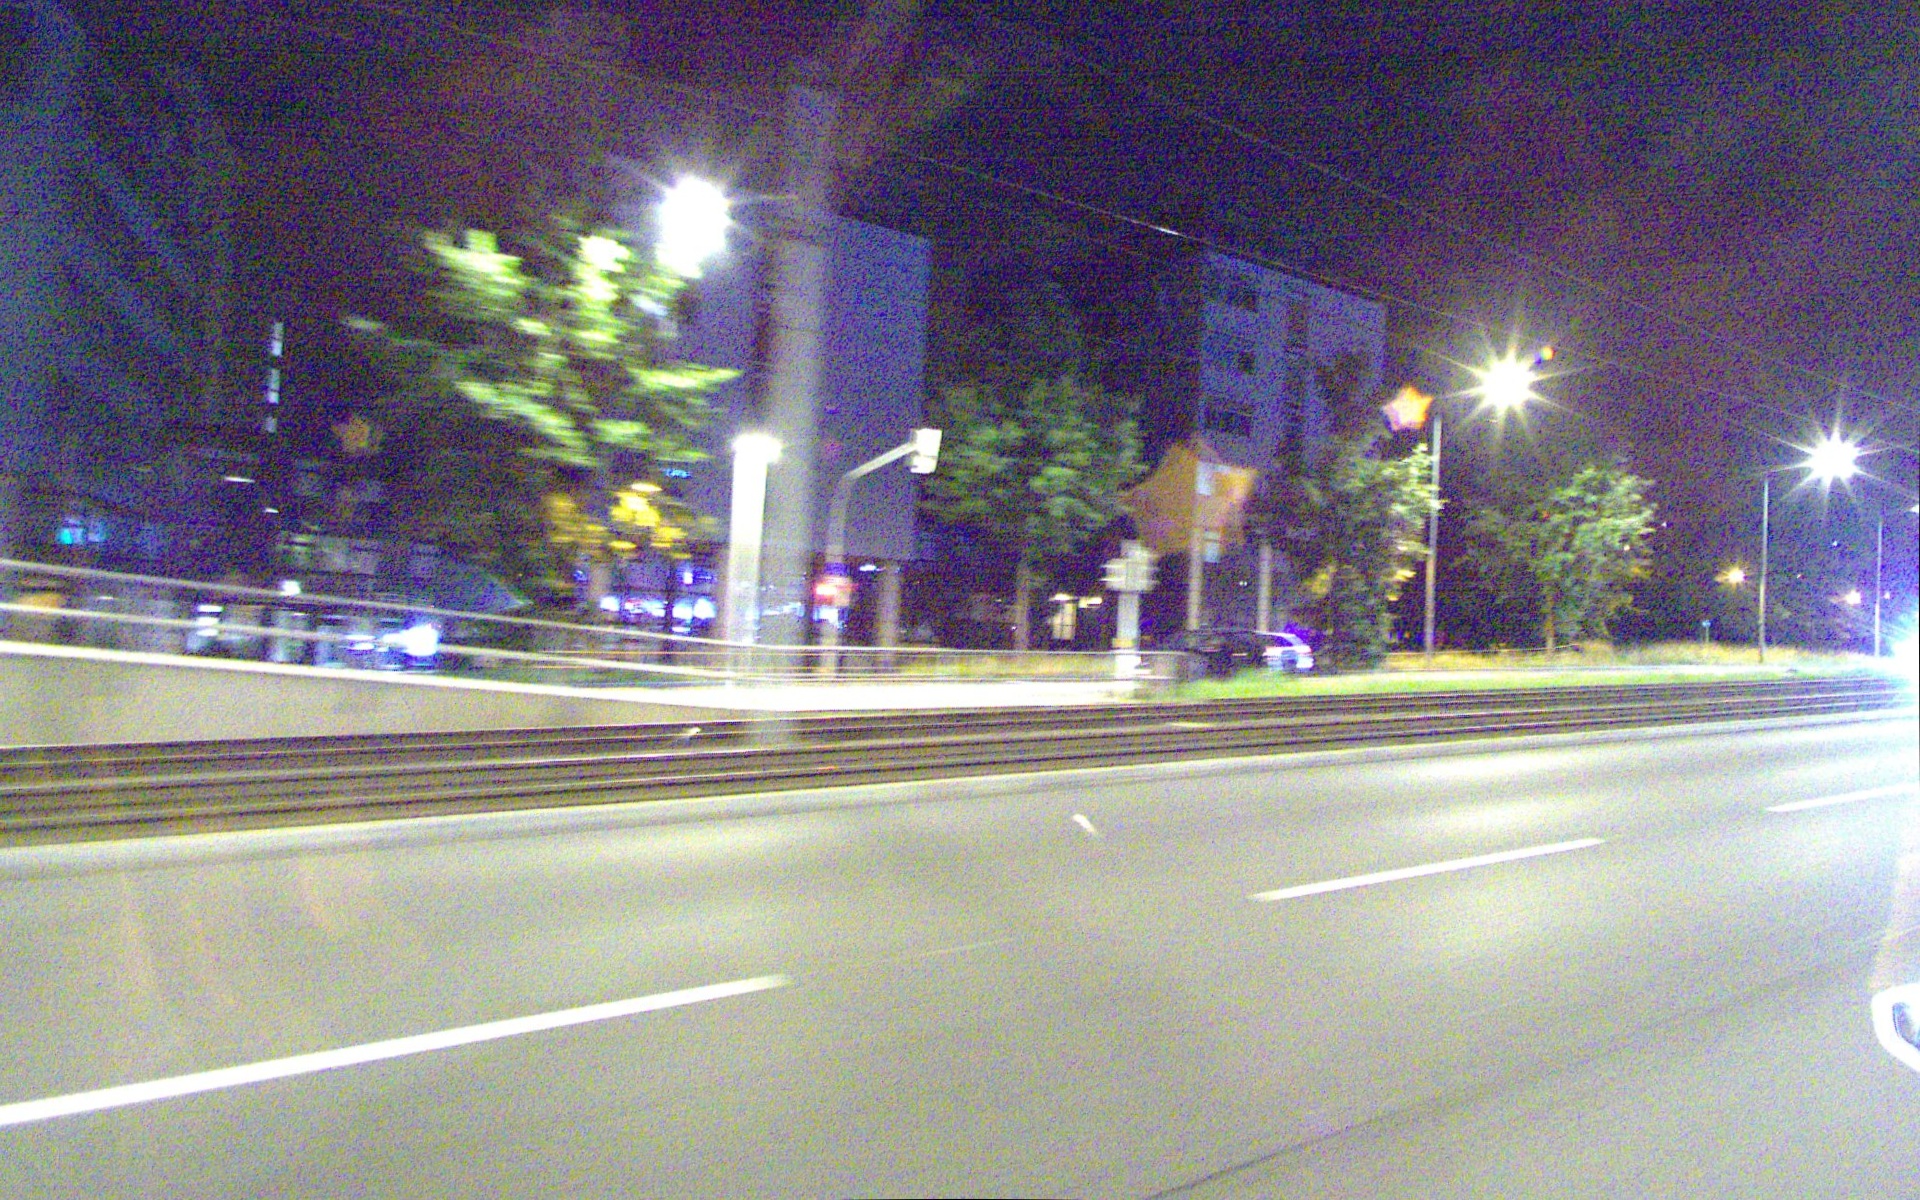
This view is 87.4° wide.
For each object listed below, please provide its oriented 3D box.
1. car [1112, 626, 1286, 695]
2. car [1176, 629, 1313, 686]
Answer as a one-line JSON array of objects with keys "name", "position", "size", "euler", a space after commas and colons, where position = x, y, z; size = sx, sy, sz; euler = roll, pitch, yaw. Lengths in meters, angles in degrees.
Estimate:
[{"name": "car", "position": [5.919, 1.496, 24.748], "size": [4.129, 1.516, 1.775], "euler": [4, -2, -32]}, {"name": "car", "position": [8.406, 1.702, 29.609], "size": [3.864, 1.536, 1.652], "euler": [2, -1, -30]}]
